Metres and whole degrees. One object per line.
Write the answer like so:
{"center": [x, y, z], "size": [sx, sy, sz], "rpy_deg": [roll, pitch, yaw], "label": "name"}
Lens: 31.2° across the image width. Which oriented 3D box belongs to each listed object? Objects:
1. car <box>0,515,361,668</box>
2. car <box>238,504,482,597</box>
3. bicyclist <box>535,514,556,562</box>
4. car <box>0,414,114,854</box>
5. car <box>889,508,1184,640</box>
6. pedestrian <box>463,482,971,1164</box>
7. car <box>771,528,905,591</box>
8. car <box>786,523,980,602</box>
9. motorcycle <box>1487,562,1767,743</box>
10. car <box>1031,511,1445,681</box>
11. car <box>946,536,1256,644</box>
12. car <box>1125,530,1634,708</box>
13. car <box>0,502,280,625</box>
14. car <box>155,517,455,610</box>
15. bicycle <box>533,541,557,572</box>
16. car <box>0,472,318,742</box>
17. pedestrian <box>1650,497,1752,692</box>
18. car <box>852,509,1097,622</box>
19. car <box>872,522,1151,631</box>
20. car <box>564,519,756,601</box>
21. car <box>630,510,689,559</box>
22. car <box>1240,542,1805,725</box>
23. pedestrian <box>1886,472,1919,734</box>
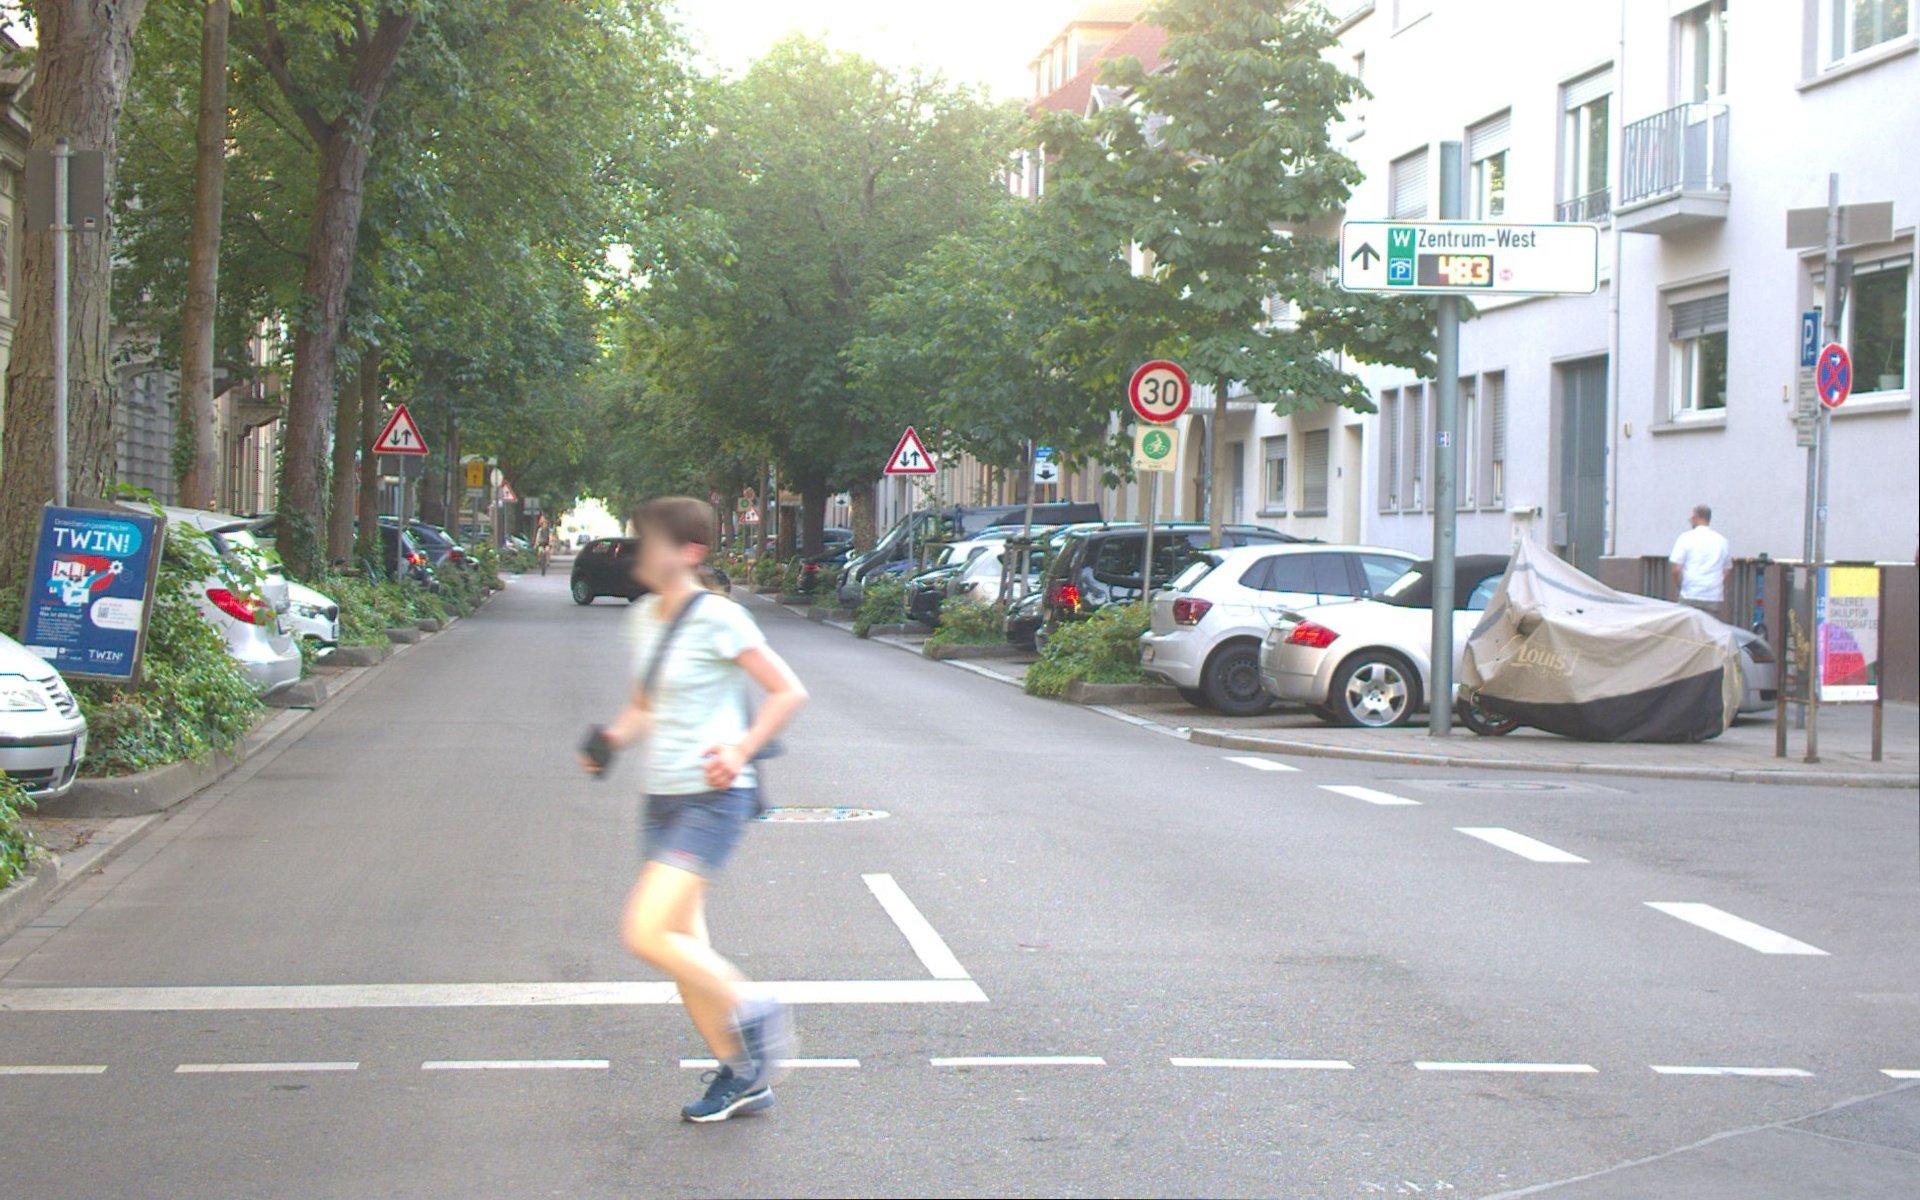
{"center": [-8.069, -0.106, 32.630], "size": [4.547, 1.367, 1.833], "rpy_deg": [1, 1, -5], "label": "car"}
{"center": [-11.701, -0.966, 67.277], "size": [4.547, 1.686, 1.833], "rpy_deg": [1, 1, -5], "label": "car"}
{"center": [-12.819, -1.928, 106.315], "size": [0.571, 1.465, 0.643], "rpy_deg": [2, 0, -12], "label": "bicyclist"}
{"center": [-6.094, 0.096, 14.894], "size": [4.546, 1.828, 1.834], "rpy_deg": [1, 1, -9], "label": "car"}
{"center": [1.069, -0.381, 49.146], "size": [4.013, 1.809, 1.707], "rpy_deg": [1, 1, -6], "label": "car"}
{"center": [-0.594, 0.504, 8.436], "size": [0.977, 1.552, 0.701], "rpy_deg": [1, 2, -41], "label": "pedestrian"}
{"center": [-3.804, -1.260, 106.782], "size": [4.013, 1.824, 1.707], "rpy_deg": [1, 1, -6], "label": "car"}
{"center": [-1.675, -0.814, 74.133], "size": [4.013, 1.596, 1.707], "rpy_deg": [1, 1, -6], "label": "car"}
{"center": [4.557, 0.352, 23.575], "size": [1.800, 1.195, 0.613], "rpy_deg": [1, 1, 3], "label": "motorcycle"}
{"center": [2.844, -0.058, 35.678], "size": [4.013, 1.684, 1.707], "rpy_deg": [1, 1, -6], "label": "car"}
{"center": [1.897, -0.152, 46.916], "size": [4.013, 1.404, 1.707], "rpy_deg": [1, 1, -6], "label": "car"}
{"center": [3.526, 0.145, 29.310], "size": [4.013, 1.437, 1.707], "rpy_deg": [1, 1, -6], "label": "car"}
{"center": [-11.378, -0.508, 46.651], "size": [4.038, 1.584, 1.833], "rpy_deg": [1, 1, -5], "label": "car"}
{"center": [-10.430, -0.591, 55.021], "size": [4.547, 1.405, 1.833], "rpy_deg": [1, 1, -5], "label": "car"}
{"center": [-12.832, -1.340, 106.304], "size": [0.571, 0.946, 1.745], "rpy_deg": [2, 0, -12], "label": "bicycle"}
{"center": [-6.586, 0.009, 22.433], "size": [4.547, 1.683, 1.833], "rpy_deg": [1, 1, -5], "label": "car"}
{"center": [6.777, -0.063, 31.459], "size": [0.704, 1.746, 0.699], "rpy_deg": [2, 1, -2], "label": "pedestrian"}
{"center": [0.225, -0.601, 59.252], "size": [4.013, 1.824, 1.707], "rpy_deg": [1, 1, -6], "label": "car"}
{"center": [0.755, -0.372, 52.022], "size": [4.013, 1.525, 1.707], "rpy_deg": [1, 1, -6], "label": "car"}
{"center": [-6.350, -0.848, 72.498], "size": [1.905, 1.572, 3.989], "rpy_deg": [1, 1, -44], "label": "car"}
{"center": [-10.275, -2.248, 117.390], "size": [1.825, 1.556, 4.029], "rpy_deg": [2, 1, -7], "label": "car"}
{"center": [4.318, 0.242, 26.734], "size": [4.013, 1.338, 1.707], "rpy_deg": [1, 1, -5], "label": "car"}
{"center": [7.122, 0.025, 24.306], "size": [0.767, 1.835, 0.944], "rpy_deg": [2, 1, -5], "label": "pedestrian"}
